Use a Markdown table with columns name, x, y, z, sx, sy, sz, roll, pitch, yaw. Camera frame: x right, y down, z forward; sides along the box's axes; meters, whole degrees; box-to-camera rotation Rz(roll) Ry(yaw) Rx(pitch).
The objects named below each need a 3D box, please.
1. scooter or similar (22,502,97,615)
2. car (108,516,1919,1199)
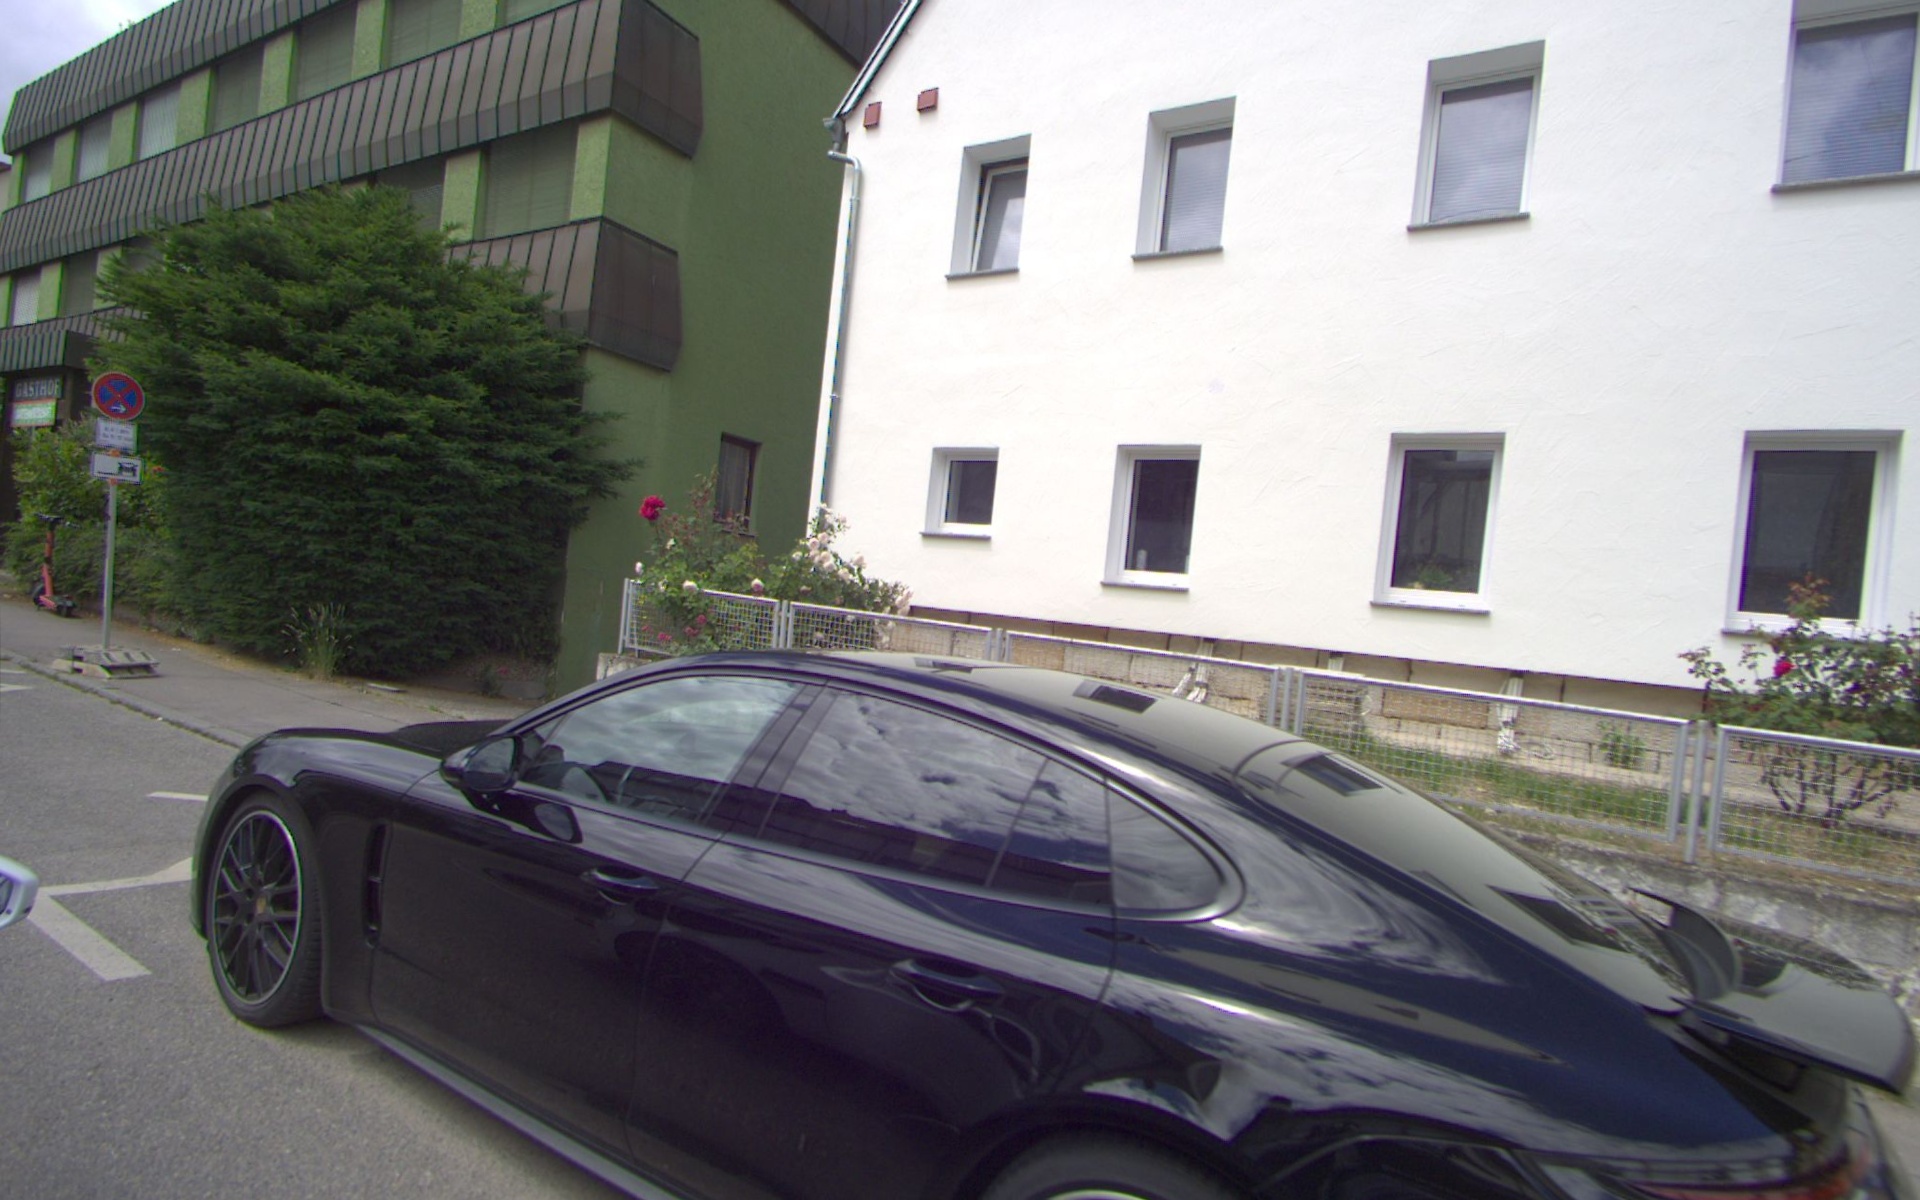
| name | x | y | z | sx | sy | sz | roll | pitch | yaw |
| --- | --- | --- | --- | --- | --- | --- | --- | --- | --- |
| scooter or similar | -11.670 | -0.547 | 13.025 | 1.381 | 1.323 | 0.301 | 8 | 4 | 32 |
| car | -0.436 | 0.714 | 3.139 | 4.673 | 1.466 | 1.987 | 6 | -1 | 32 |
